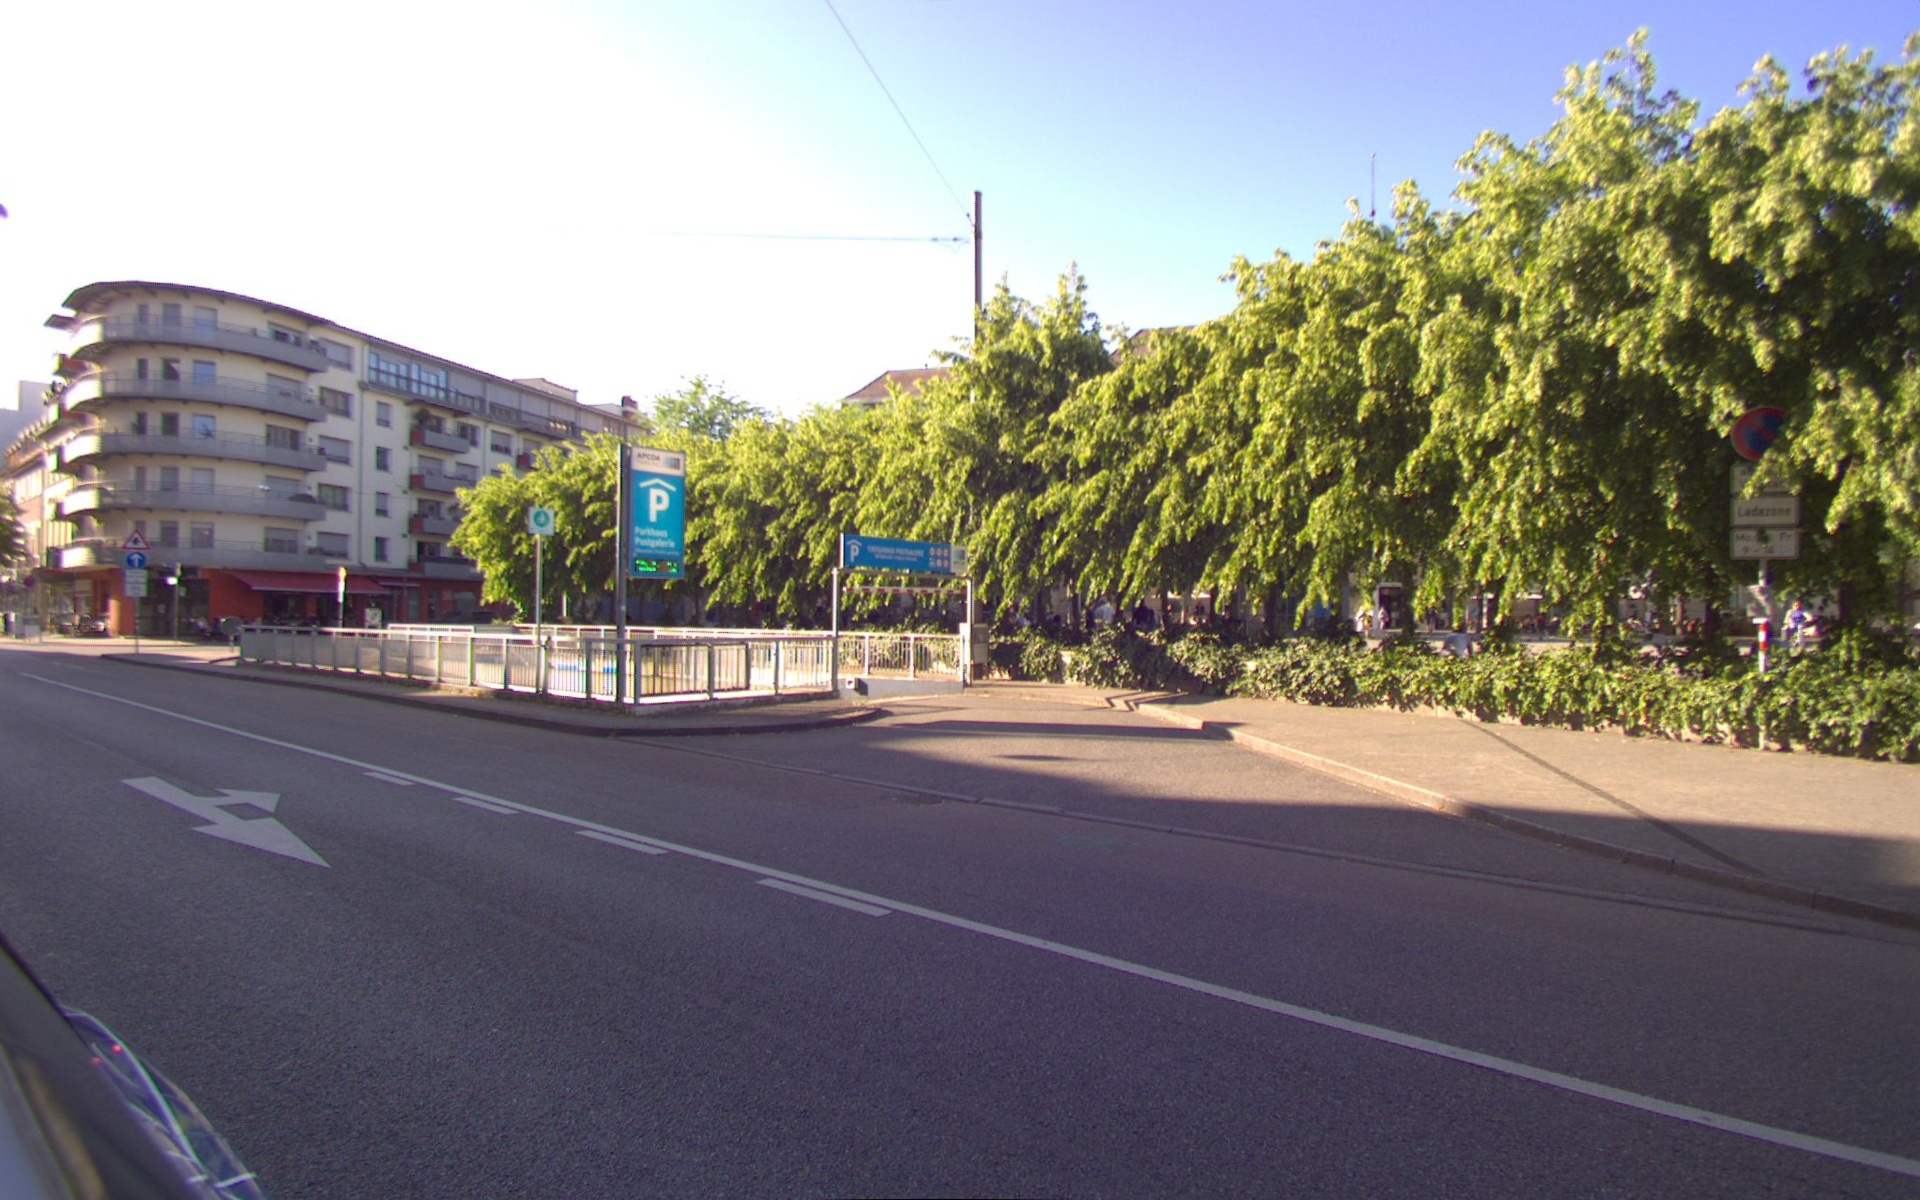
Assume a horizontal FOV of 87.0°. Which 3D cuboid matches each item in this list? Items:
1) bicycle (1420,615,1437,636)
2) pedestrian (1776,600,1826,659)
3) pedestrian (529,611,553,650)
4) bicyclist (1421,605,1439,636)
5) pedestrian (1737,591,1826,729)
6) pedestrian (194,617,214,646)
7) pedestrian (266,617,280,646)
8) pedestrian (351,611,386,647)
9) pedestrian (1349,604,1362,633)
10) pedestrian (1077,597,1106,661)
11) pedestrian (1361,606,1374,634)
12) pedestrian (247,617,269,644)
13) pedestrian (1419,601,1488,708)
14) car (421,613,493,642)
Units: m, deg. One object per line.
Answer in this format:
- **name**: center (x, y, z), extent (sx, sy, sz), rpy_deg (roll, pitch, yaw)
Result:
- **bicycle**: center (21.588, 1.172, 46.661), extent (0.586, 0.961, 1.888), rpy_deg (-1, -1, 28)
- **pedestrian**: center (25.619, 0.891, 30.833), extent (0.889, 1.771, 0.735), rpy_deg (0, -1, 10)
- **pedestrian**: center (-19.905, 1.429, 48.080), extent (0.753, 1.819, 0.748), rpy_deg (-1, -1, 25)
- **bicyclist**: center (21.670, 0.933, 46.656), extent (0.670, 1.439, 0.691), rpy_deg (-1, -1, 29)
- **pedestrian**: center (11.035, 0.778, 13.599), extent (0.885, 1.771, 0.738), rpy_deg (0, -1, -39)
- **pedestrian**: center (-39.148, 1.632, 52.399), extent (0.780, 1.472, 0.583), rpy_deg (0, -1, -40)
- **pedestrian**: center (-36.727, 1.668, 54.091), extent (0.573, 1.501, 0.794), rpy_deg (0, -1, -36)
- **pedestrian**: center (-33.664, 1.652, 57.573), extent (1.251, 2.029, 1.226), rpy_deg (-1, -1, 19)
- **pedestrian**: center (27.059, 1.266, 69.204), extent (0.751, 1.948, 0.938), rpy_deg (-1, -1, 20)
- **pedestrian**: center (3.540, 0.771, 27.204), extent (0.672, 1.683, 0.843), rpy_deg (-1, -1, 13)
- **pedestrian**: center (27.860, 1.357, 69.240), extent (0.751, 1.948, 0.938), rpy_deg (0, 0, 20)
- **pedestrian**: center (-38.148, 1.662, 54.970), extent (0.782, 1.473, 0.582), rpy_deg (0, -1, 3)
- **pedestrian**: center (8.389, 0.903, 17.207), extent (0.885, 1.771, 0.738), rpy_deg (0, -1, -39)
- **car**: center (-31.946, 1.750, 64.408), extent (1.983, 1.763, 3.978), rpy_deg (0, -1, 17)
